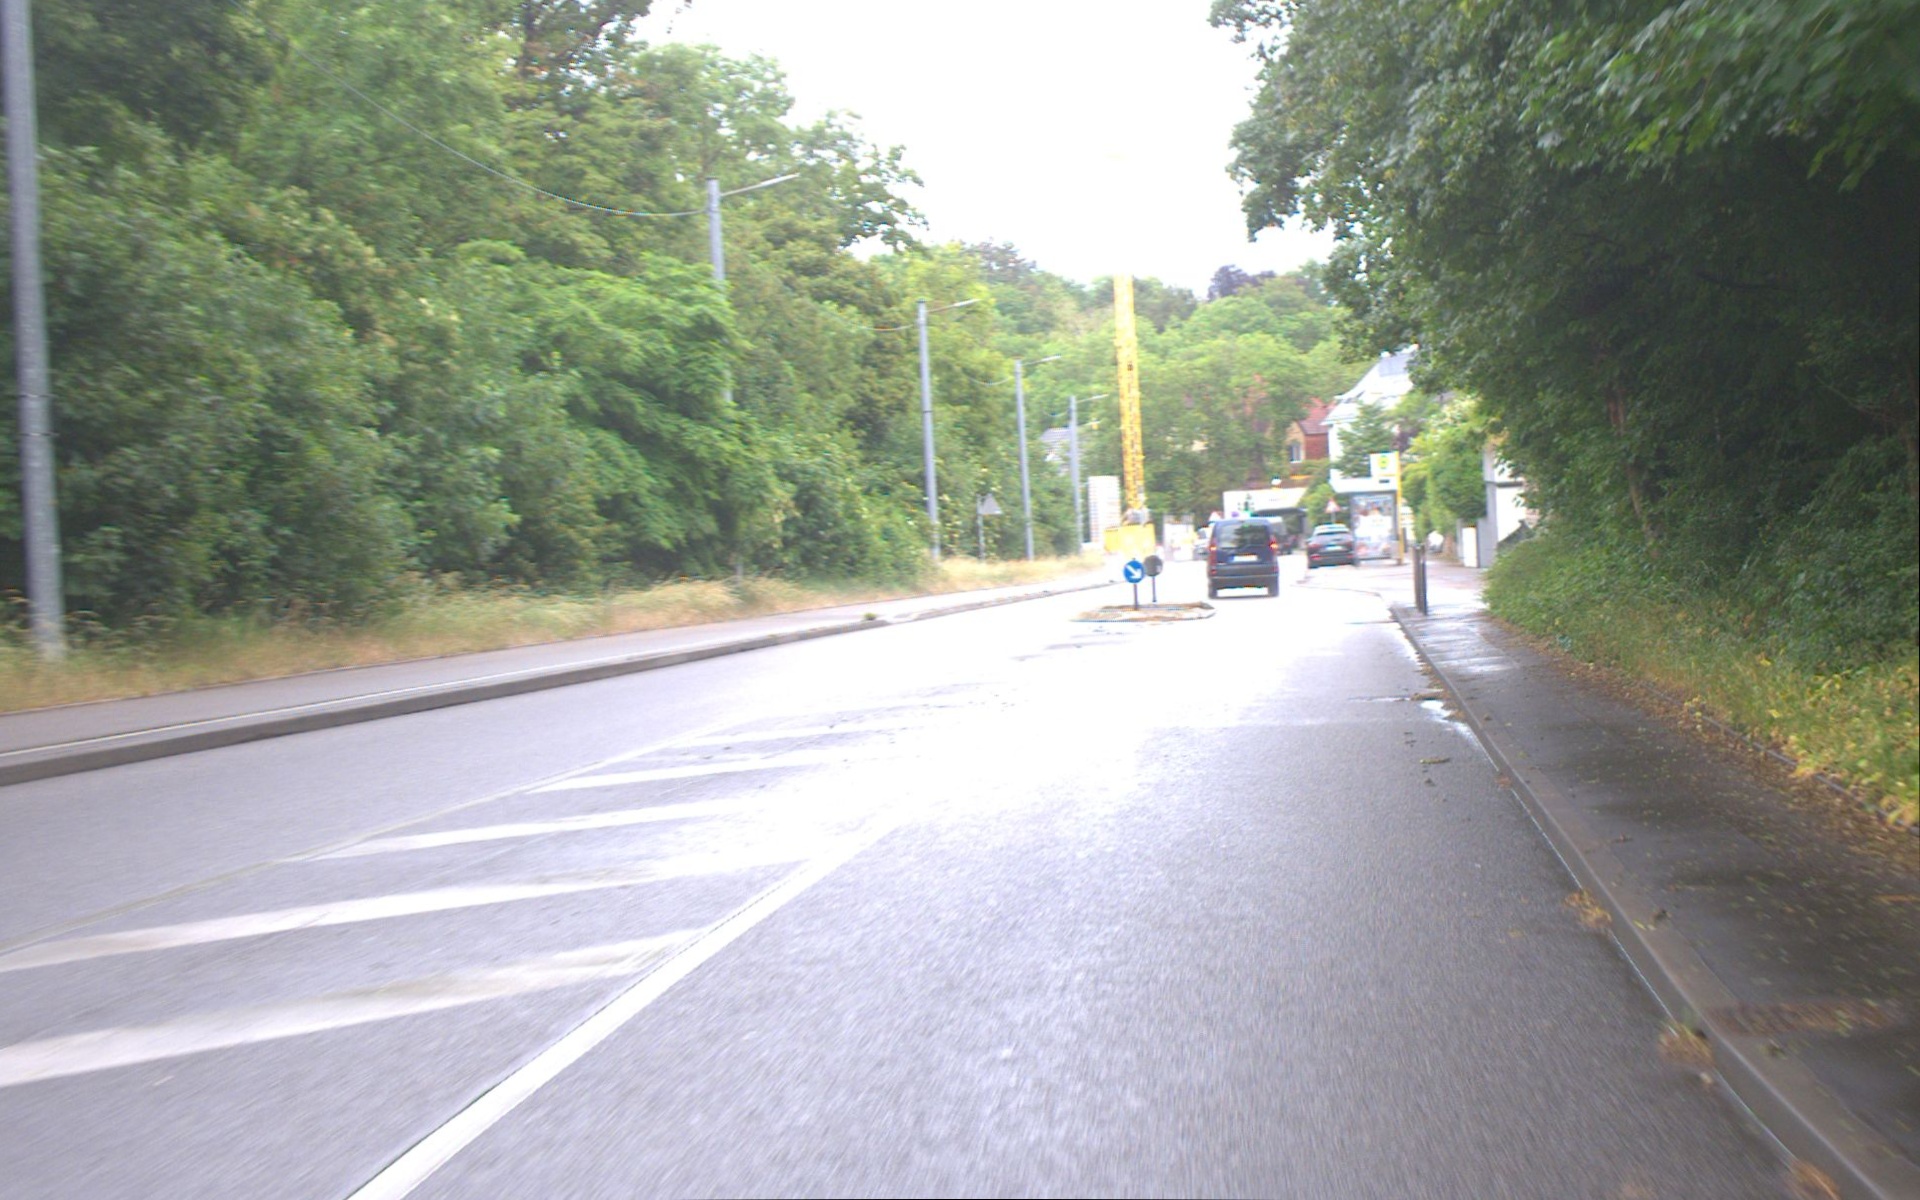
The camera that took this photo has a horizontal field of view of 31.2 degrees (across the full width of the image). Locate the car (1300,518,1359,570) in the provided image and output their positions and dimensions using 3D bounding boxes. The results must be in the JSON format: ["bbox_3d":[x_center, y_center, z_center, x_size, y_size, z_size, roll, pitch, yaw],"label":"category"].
[{"bbox_3d":[12.952,-1.967,120.357,1.994,1.766,4.113,0,1,7],"label":"car"}]

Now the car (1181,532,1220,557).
[{"bbox_3d":[15.760,-3.629,225.422,1.739,1.546,3.857,-2,1,-7],"label":"car"}]

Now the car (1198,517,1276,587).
[{"bbox_3d":[6.469,-1.119,80.111,1.668,1.588,3.682,0,1,7],"label":"car"}]

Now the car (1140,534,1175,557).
[{"bbox_3d":[13.669,-3.755,238.101,1.739,1.546,3.857,-2,1,-7],"label":"car"}]

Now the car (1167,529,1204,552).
[{"bbox_3d":[15.088,-3.970,230.367,1.739,1.546,3.857,0,1,-7],"label":"car"}]
